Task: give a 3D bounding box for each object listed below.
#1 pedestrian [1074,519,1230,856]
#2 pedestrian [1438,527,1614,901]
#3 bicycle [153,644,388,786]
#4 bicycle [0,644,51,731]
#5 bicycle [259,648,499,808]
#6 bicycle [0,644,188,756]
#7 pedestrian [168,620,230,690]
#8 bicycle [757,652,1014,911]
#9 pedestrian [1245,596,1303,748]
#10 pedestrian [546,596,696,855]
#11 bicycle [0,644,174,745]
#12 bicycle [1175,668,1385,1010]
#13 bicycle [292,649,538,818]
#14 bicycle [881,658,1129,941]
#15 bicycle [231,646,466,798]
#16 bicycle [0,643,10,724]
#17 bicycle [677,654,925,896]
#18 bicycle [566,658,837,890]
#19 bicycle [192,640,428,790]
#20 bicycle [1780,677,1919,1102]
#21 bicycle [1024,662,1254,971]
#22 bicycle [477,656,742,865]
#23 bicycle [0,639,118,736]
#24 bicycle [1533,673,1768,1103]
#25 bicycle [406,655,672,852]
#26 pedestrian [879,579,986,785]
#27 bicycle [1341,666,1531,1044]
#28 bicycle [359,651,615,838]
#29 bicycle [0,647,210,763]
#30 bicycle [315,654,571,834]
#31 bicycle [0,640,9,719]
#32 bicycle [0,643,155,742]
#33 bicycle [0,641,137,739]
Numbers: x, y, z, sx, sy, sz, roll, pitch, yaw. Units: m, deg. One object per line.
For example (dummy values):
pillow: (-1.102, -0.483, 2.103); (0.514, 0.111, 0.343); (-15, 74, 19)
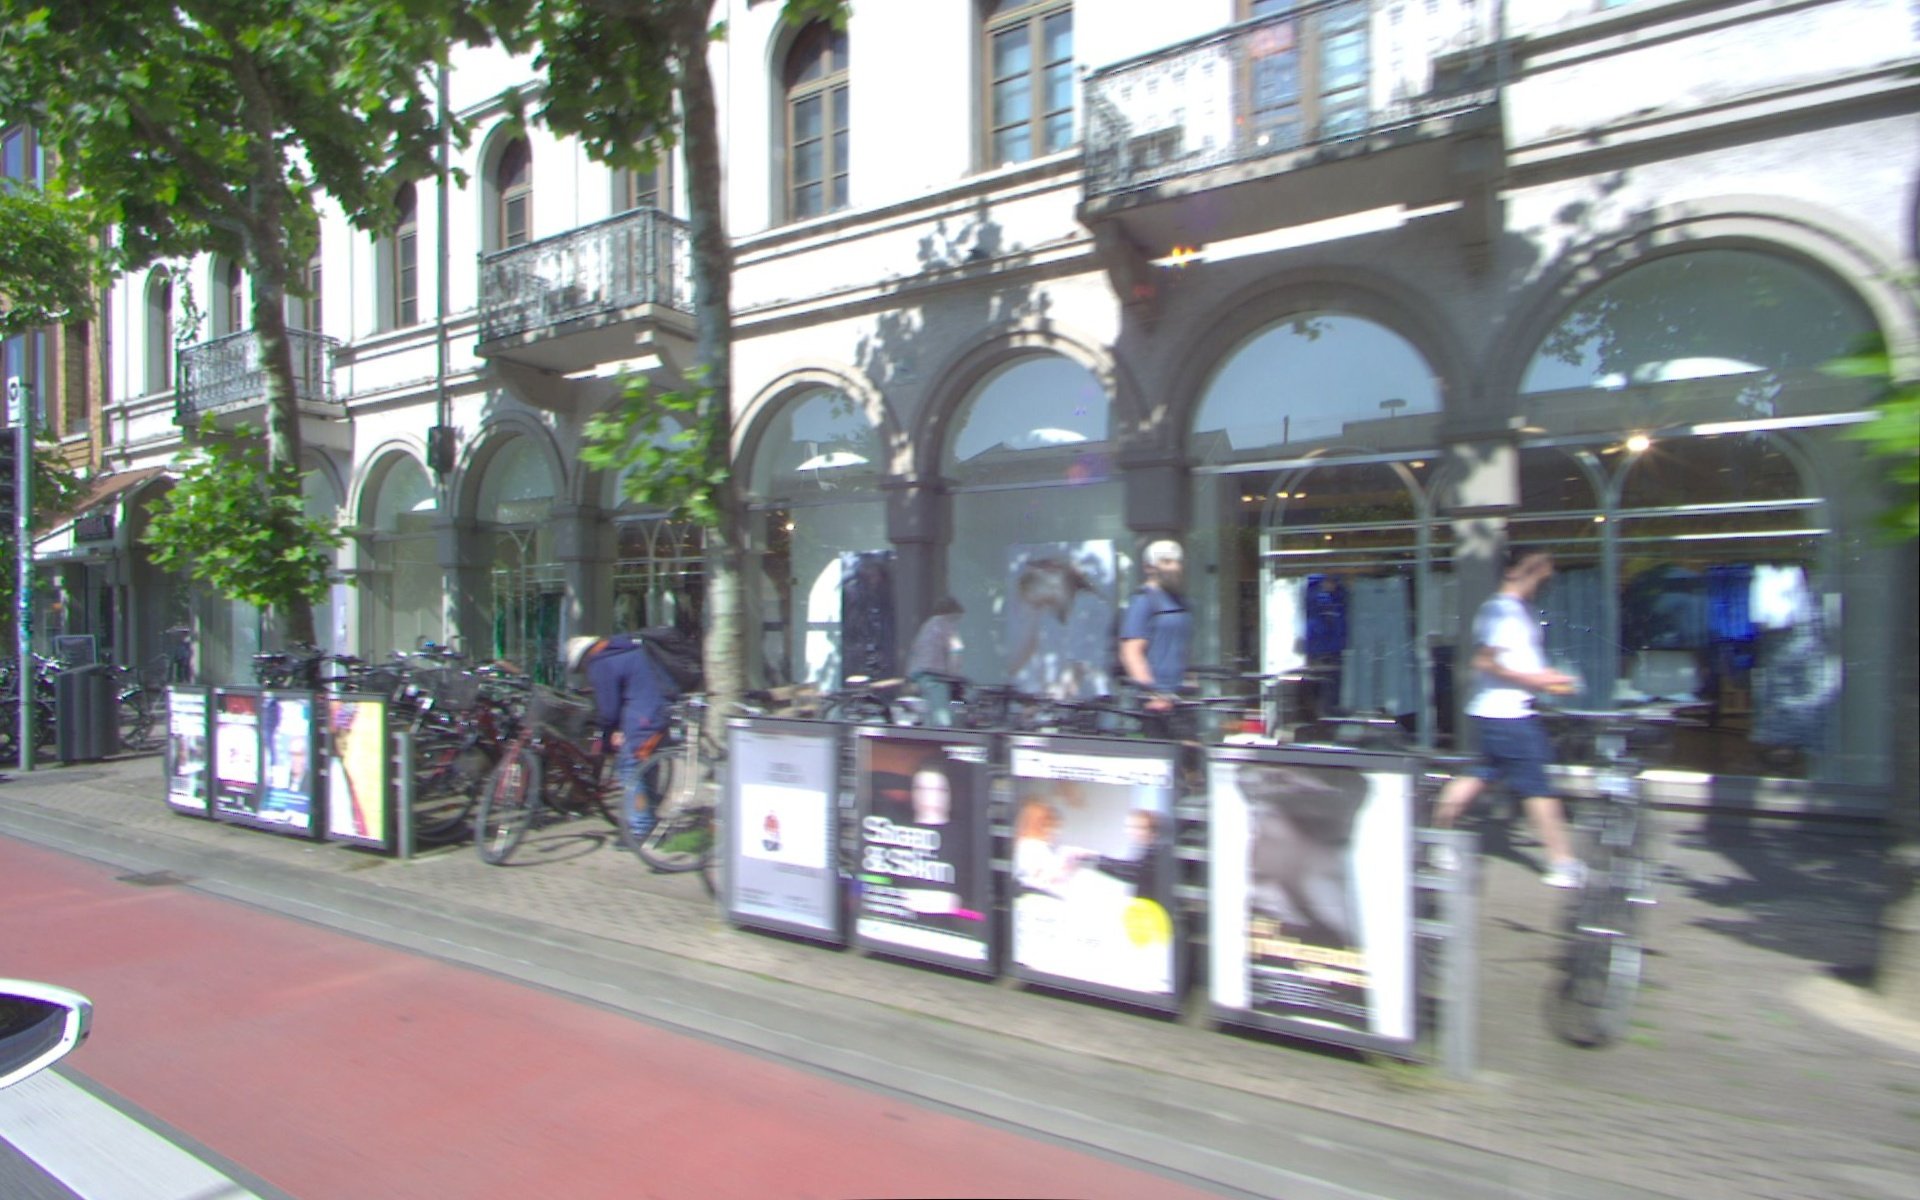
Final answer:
pedestrian: (1.206, 0.517, 6.224); (0.765, 1.926, 0.700); (0, -2, 29)
pedestrian: (2.993, 0.571, 5.339); (0.765, 1.815, 0.633); (0, -2, 29)
bicycle: (-6.341, 1.007, 9.322); (0.475, 1.162, 1.772); (0, -1, 29)
bicycle: (-13.230, 1.171, 13.230); (0.475, 1.162, 1.751); (0, -1, 29)
bicycle: (-4.791, 1.004, 8.390); (0.475, 1.162, 1.751); (0, -1, 29)
bicycle: (-9.938, 1.091, 11.428); (0.475, 1.162, 1.751); (0, -1, 29)
pedestrian: (-14.263, 1.030, 18.777); (0.715, 1.267, 0.591); (1, -2, -15)
bicycle: (-0.337, 0.896, 5.597); (0.583, 1.162, 1.751); (0, -1, 29)
pedestrian: (3.311, 0.747, 10.545); (0.530, 1.553, 0.503); (0, -2, 24)
pedestrian: (-2.179, 0.772, 6.459); (0.657, 1.557, 0.604); (0, -2, 29)
bicycle: (-10.360, 1.067, 11.743); (0.475, 1.082, 1.751); (0, -1, 29)
bicycle: (1.512, 0.923, 4.529); (0.583, 1.162, 1.751); (0, -1, 29)
bicycle: (-4.280, 0.993, 8.016); (0.475, 1.162, 1.751); (0, -1, 29)
bicycle: (0.312, 0.908, 5.215); (0.583, 1.162, 1.751); (0, -1, 29)
bicycle: (-5.278, 1.002, 8.771); (0.475, 1.162, 1.751); (0, -1, 29)
bicycle: (-14.500, 1.197, 13.962); (0.475, 1.162, 1.751); (0, -1, 29)
bicycle: (-0.853, 0.919, 5.877); (0.511, 1.162, 1.701); (0, -1, 29)
bicycle: (-1.504, 0.963, 6.161); (0.583, 1.162, 1.751); (0, -1, 29)
bicycle: (-5.846, 0.983, 9.130); (0.475, 1.209, 1.798); (0, -1, 29)
bicycle: (3.408, 0.892, 3.439); (0.589, 1.162, 1.751); (0, -1, 29)
bicycle: (0.943, 0.912, 4.873); (0.583, 1.162, 1.751); (0, -1, 29)
bicycle: (-2.277, 0.986, 6.750); (0.583, 1.162, 1.751); (0, -1, 29)
bicycle: (-11.668, 1.073, 12.480); (0.475, 1.162, 1.751); (0, -1, 29)
bicycle: (2.520, 0.899, 3.810); (0.584, 1.162, 1.751); (0, -1, 30)
bicycle: (-2.885, 0.994, 7.065); (0.583, 1.162, 1.751); (0, -1, 29)
pedestrian: (-0.235, 0.703, 8.793); (0.666, 1.717, 0.656); (-1, -2, 32)
bicycle: (2.028, 0.894, 4.184); (0.583, 1.162, 1.751); (0, -1, 29)
bicycle: (-3.375, 0.975, 7.324); (0.475, 1.162, 1.751); (0, -1, 29)
bicycle: (-9.498, 1.118, 11.185); (0.475, 1.162, 1.751); (0, -1, 29)
bicycle: (-3.824, 1.008, 7.569); (0.475, 1.162, 1.751); (0, -1, 29)
bicycle: (-14.887, 1.168, 14.347); (0.519, 1.162, 1.751); (0, -1, 29)
bicycle: (-10.788, 1.077, 11.980); (0.475, 1.101, 1.751); (0, -1, 29)
bicycle: (-11.216, 1.078, 12.230); (0.475, 1.119, 1.751); (0, -1, 29)
